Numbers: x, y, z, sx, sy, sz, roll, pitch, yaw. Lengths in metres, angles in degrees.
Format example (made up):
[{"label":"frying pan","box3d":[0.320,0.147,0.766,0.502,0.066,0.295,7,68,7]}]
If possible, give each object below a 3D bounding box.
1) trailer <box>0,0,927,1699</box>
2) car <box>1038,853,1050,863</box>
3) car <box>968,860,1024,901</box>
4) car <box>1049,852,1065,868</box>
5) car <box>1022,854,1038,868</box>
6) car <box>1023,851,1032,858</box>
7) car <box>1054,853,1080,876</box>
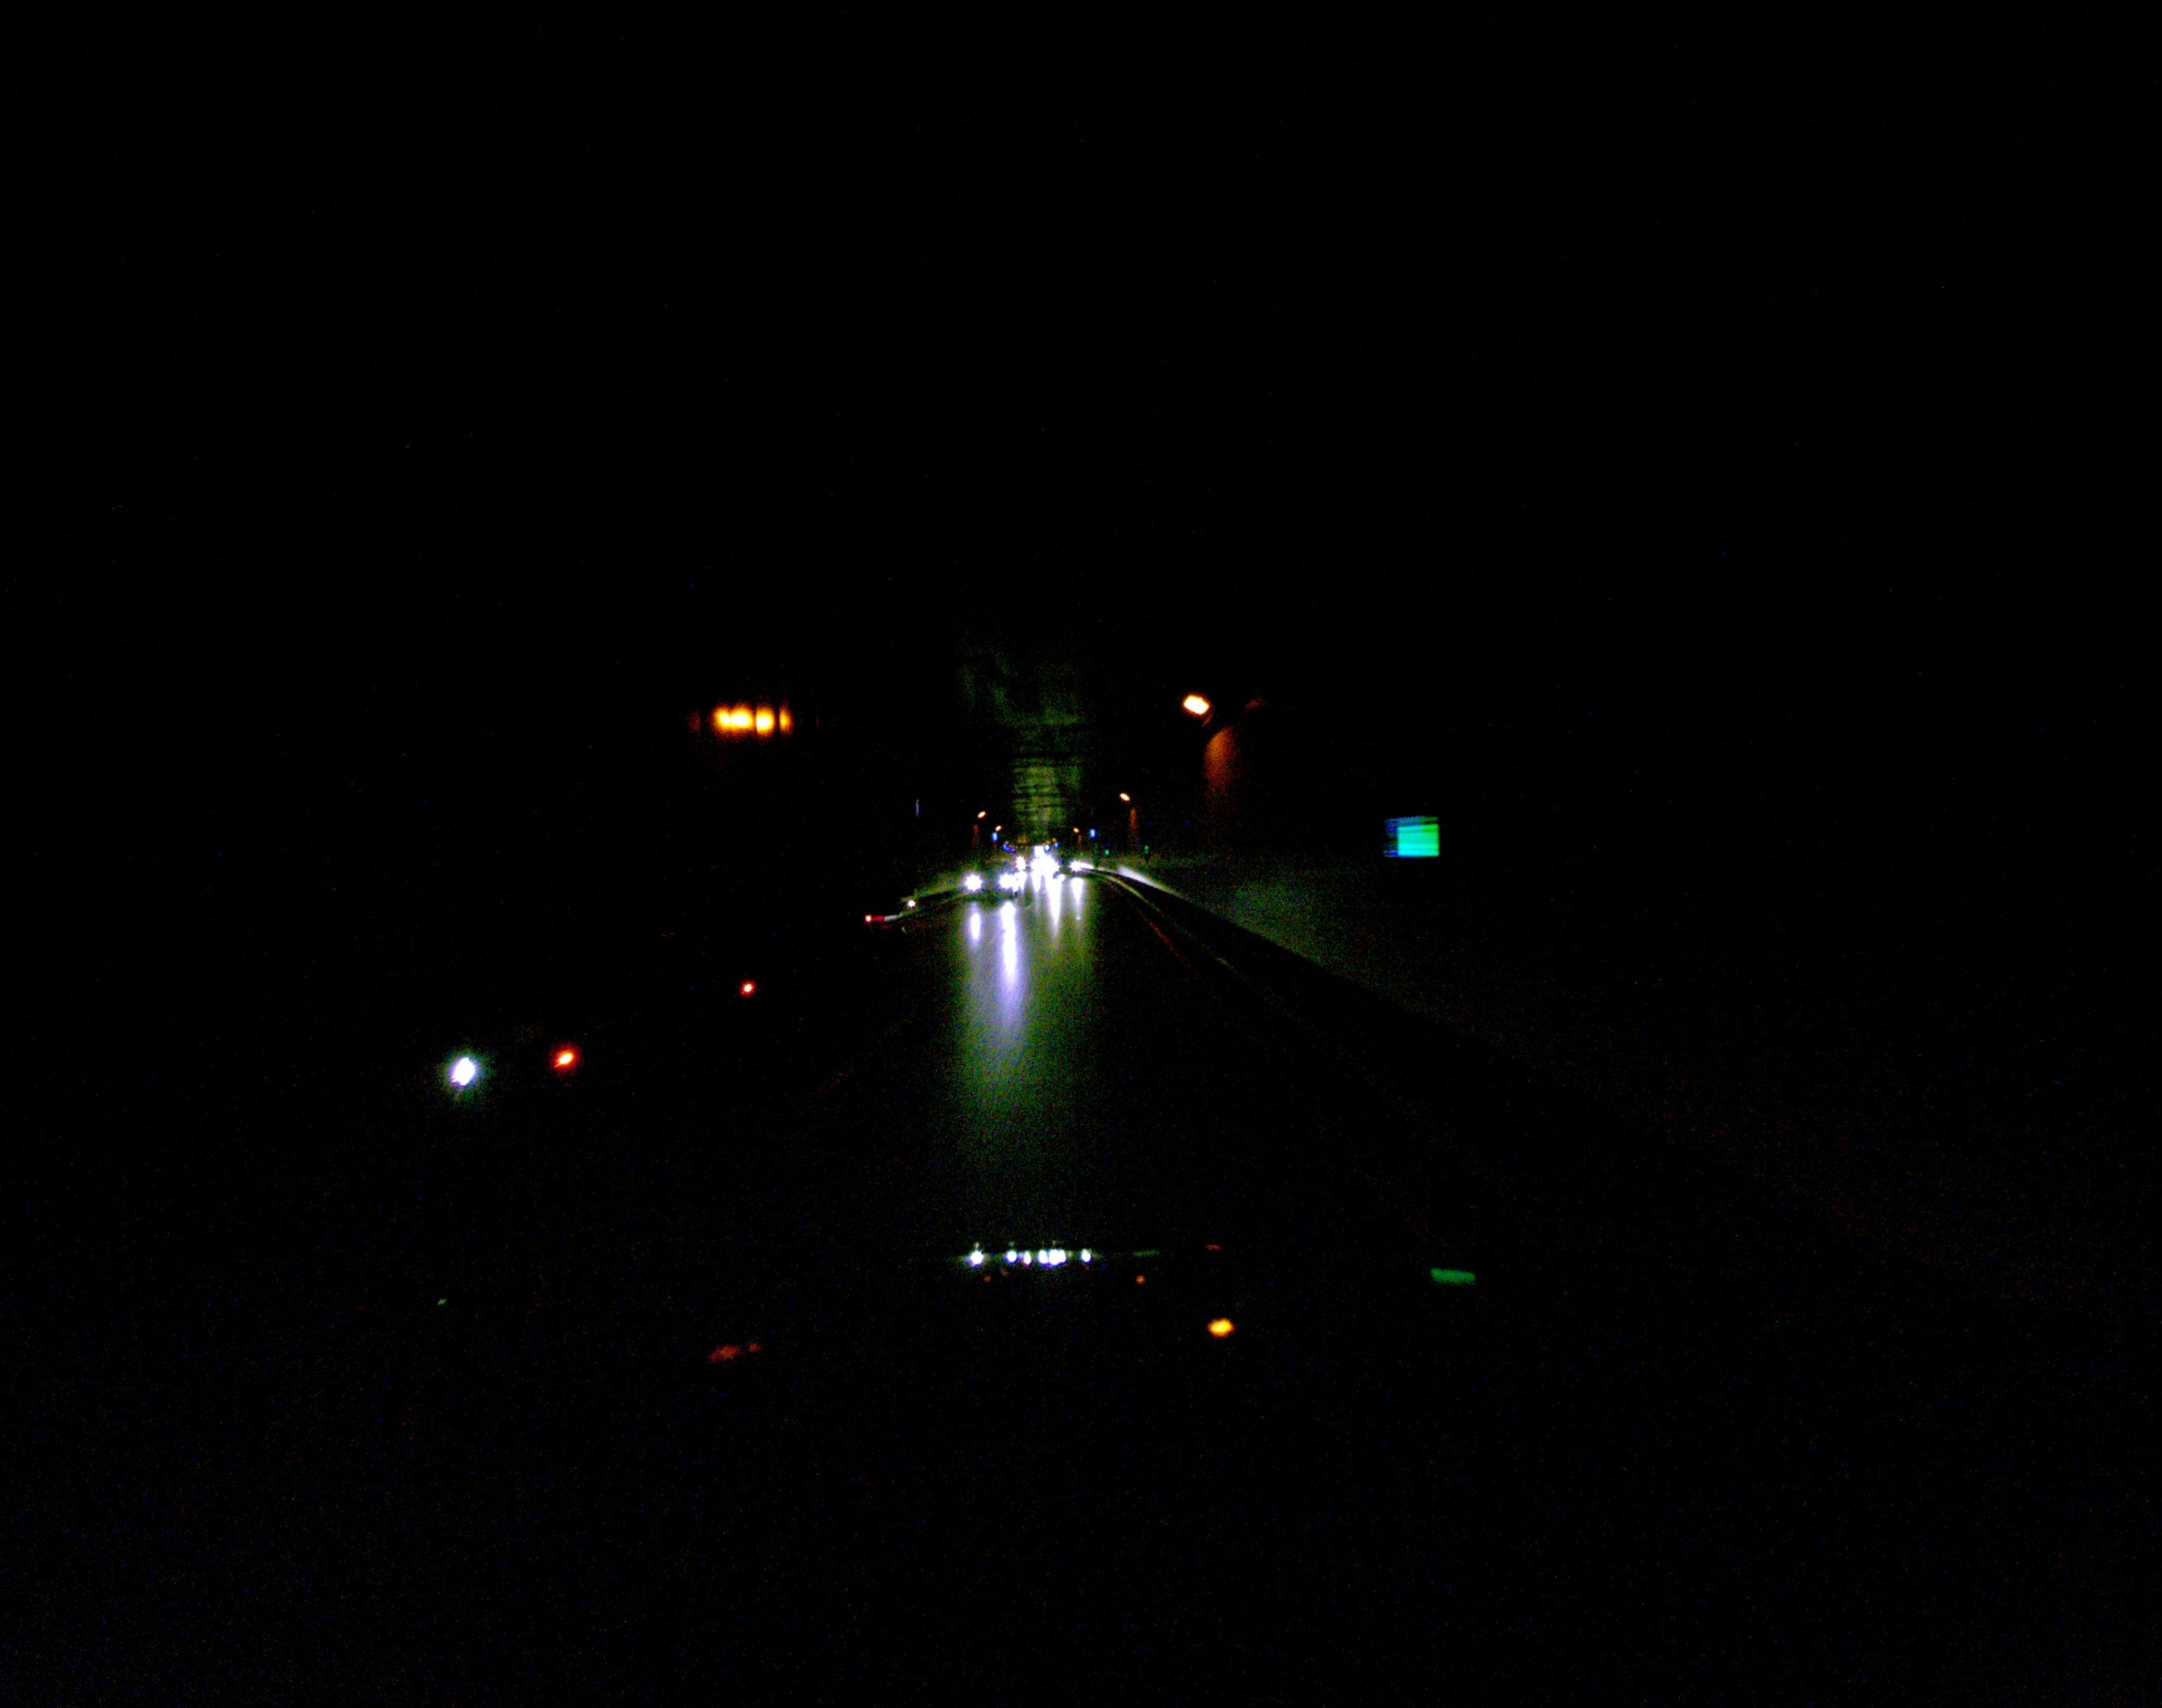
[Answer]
[{"label":"trailer","box3d":[-3.629,-0.187,5.811,2.882,3.836,8.947,-2,0,1]},{"label":"car","box3d":[-6.220,0.720,128.067,1.999,1.576,4.649,-2,1,-4]},{"label":"car","box3d":[-3.351,1.013,30.523,1.735,1.395,3.798,-3,1,0]},{"label":"car","box3d":[-2.923,0.654,91.151,1.715,1.729,3.997,-2,2,-4]},{"label":"car","box3d":[-5.761,0.772,86.449,1.736,1.565,3.999,-2,0,-3]},{"label":"car","box3d":[-13.327,0.115,188.982,1.999,1.674,3.999,-2,1,-1]},{"label":"car","box3d":[-1.029,0.713,54.297,1.820,1.589,3.999,0,0,-2]}]
